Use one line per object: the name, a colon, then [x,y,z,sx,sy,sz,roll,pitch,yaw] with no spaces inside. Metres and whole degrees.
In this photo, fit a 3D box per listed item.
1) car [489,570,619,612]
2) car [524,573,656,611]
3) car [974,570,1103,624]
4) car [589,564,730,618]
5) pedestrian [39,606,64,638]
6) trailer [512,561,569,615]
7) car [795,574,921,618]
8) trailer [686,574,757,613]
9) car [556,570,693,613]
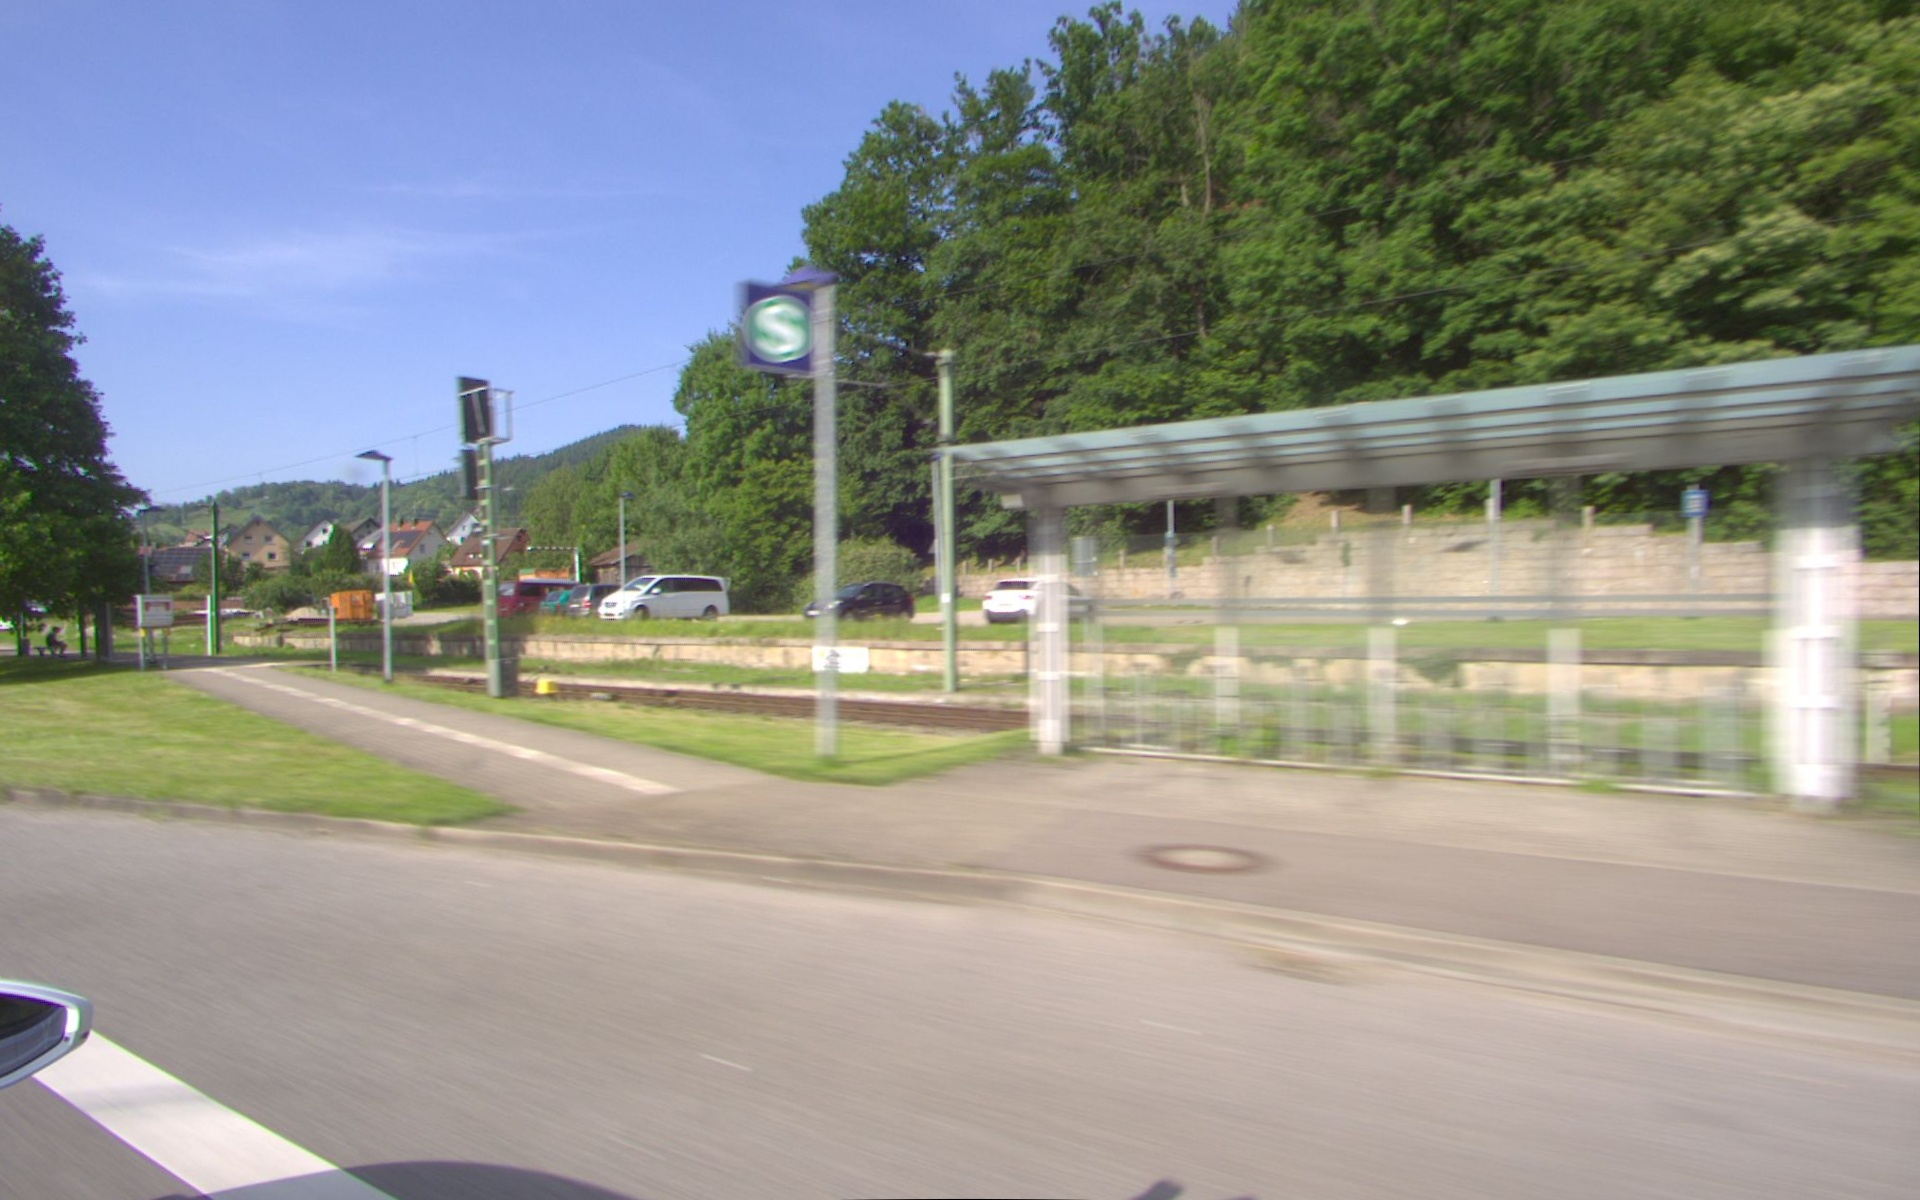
car: [-17.458,-0.352,43.274,1.911,1.713,4.934,0,0,36]
car: [-15.302,-0.306,41.684,1.871,1.488,4.934,0,0,36]
car: [2.315,-0.081,28.437,1.786,1.416,4.082,0,0,36]
car: [-11.489,-0.308,38.594,2.113,1.969,4.934,0,0,36]
pedestrian: [-34.109,0.827,37.607,0.631,1.177,0.719,-3,2,-45]
trailer: [-32.544,-0.890,77.509,2.580,3.946,7.682,-3,1,-34]
car: [-3.318,-0.110,33.265,1.808,1.361,4.250,0,0,36]
trailer: [-14.101,-0.397,59.204,3.655,2.219,1.806,-2,1,-35]
car: [-13.337,-0.307,40.078,2.113,1.608,4.934,0,0,36]
